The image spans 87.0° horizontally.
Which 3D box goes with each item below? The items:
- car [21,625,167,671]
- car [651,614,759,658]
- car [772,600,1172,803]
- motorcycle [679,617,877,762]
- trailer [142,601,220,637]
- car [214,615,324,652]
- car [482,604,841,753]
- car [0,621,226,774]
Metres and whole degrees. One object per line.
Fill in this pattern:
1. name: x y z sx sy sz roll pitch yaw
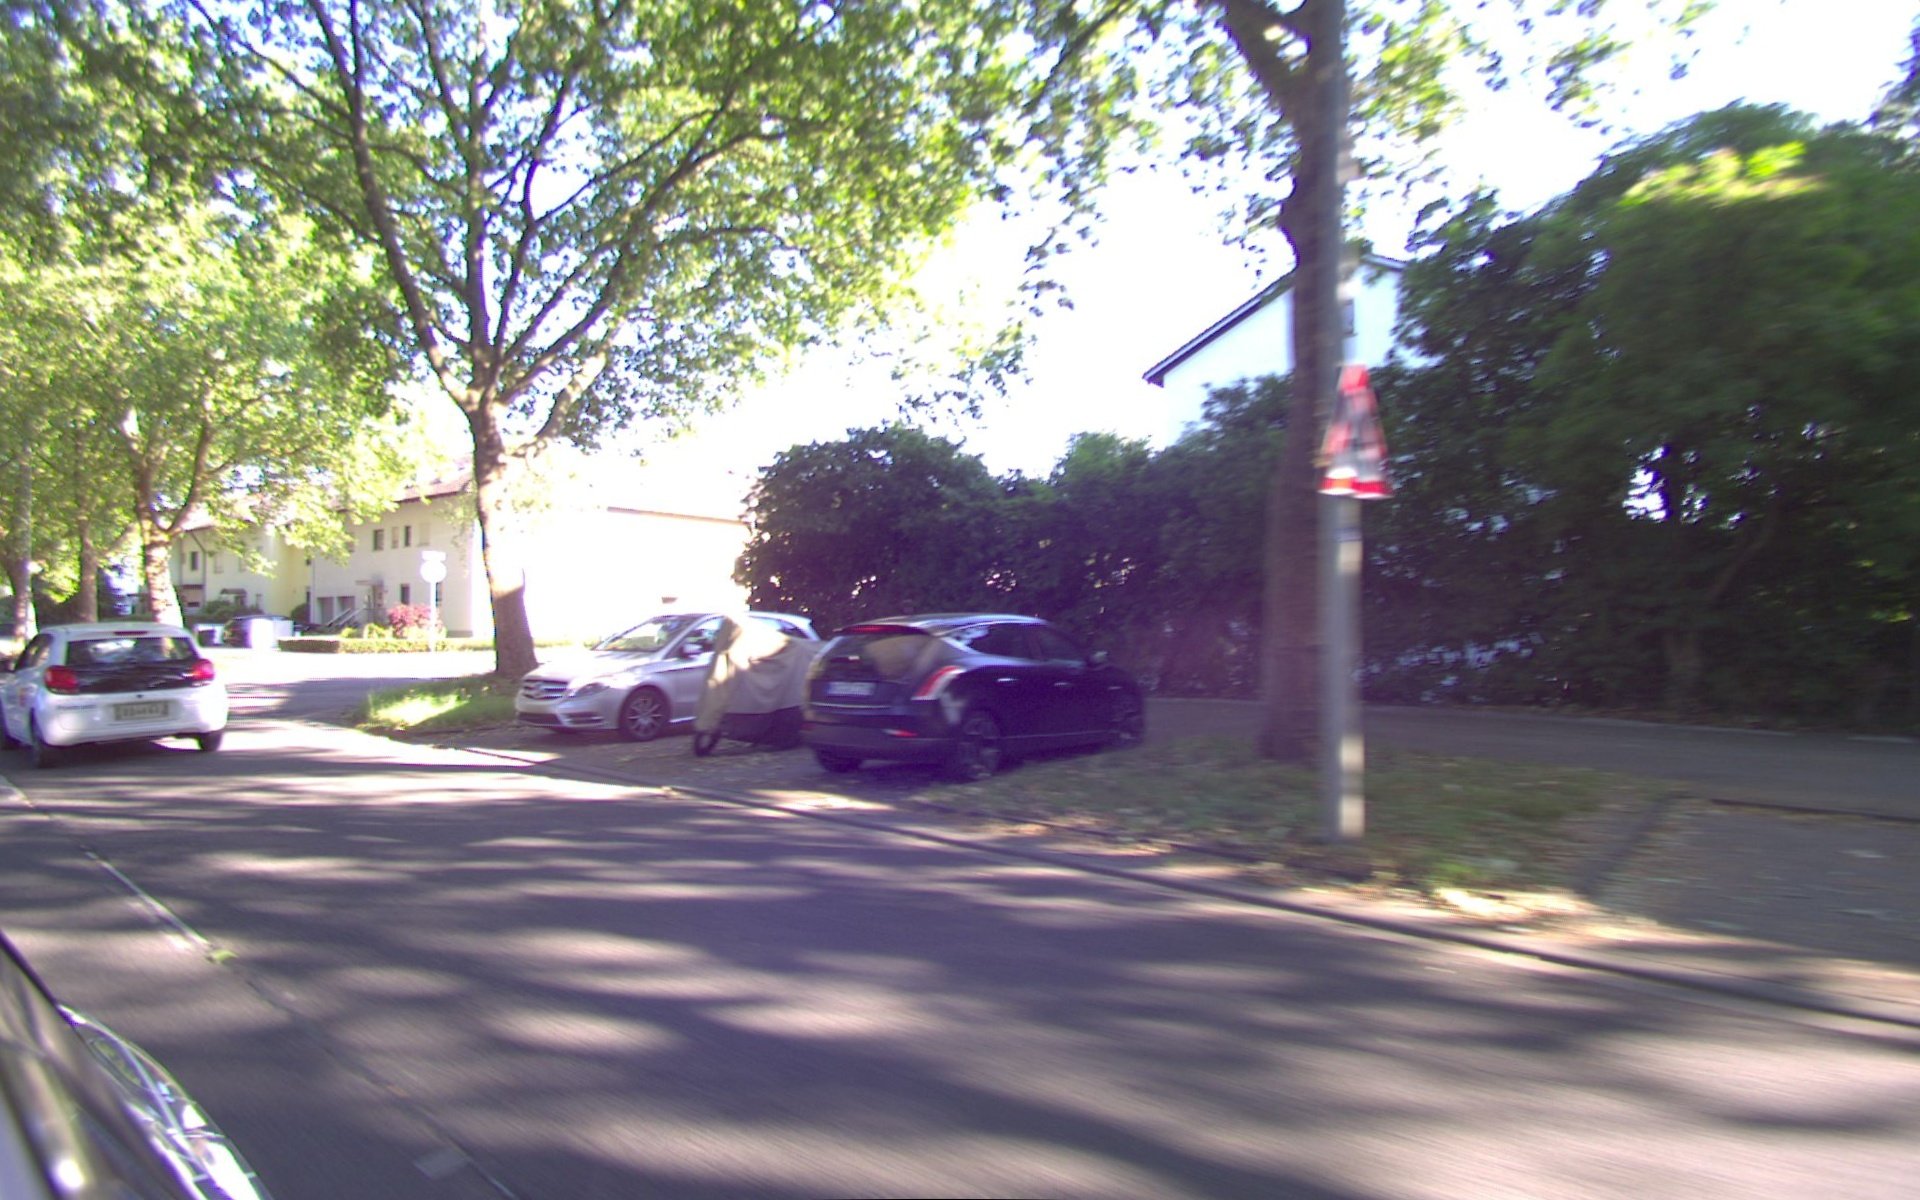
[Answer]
1. car: -31.961 1.725 37.443 1.787 1.326 3.790 -1 2 38
2. car: -9.772 1.343 38.701 3.993 1.586 1.975 -1 -1 37
3. car: 0.328 0.800 9.794 1.799 1.518 4.122 -1 -1 37
4. motorcycle: -1.912 0.896 11.063 0.647 1.399 2.364 -1 -1 35
5. trailer: -48.263 1.182 62.767 1.640 1.940 3.423 -3 2 36
6. car: -33.217 1.572 48.713 1.899 1.475 3.948 -1 2 39
7. car: -3.690 0.875 13.154 1.996 1.596 4.146 -1 -1 36
8. car: -9.715 0.987 11.436 3.181 1.470 1.520 -1 -1 39
